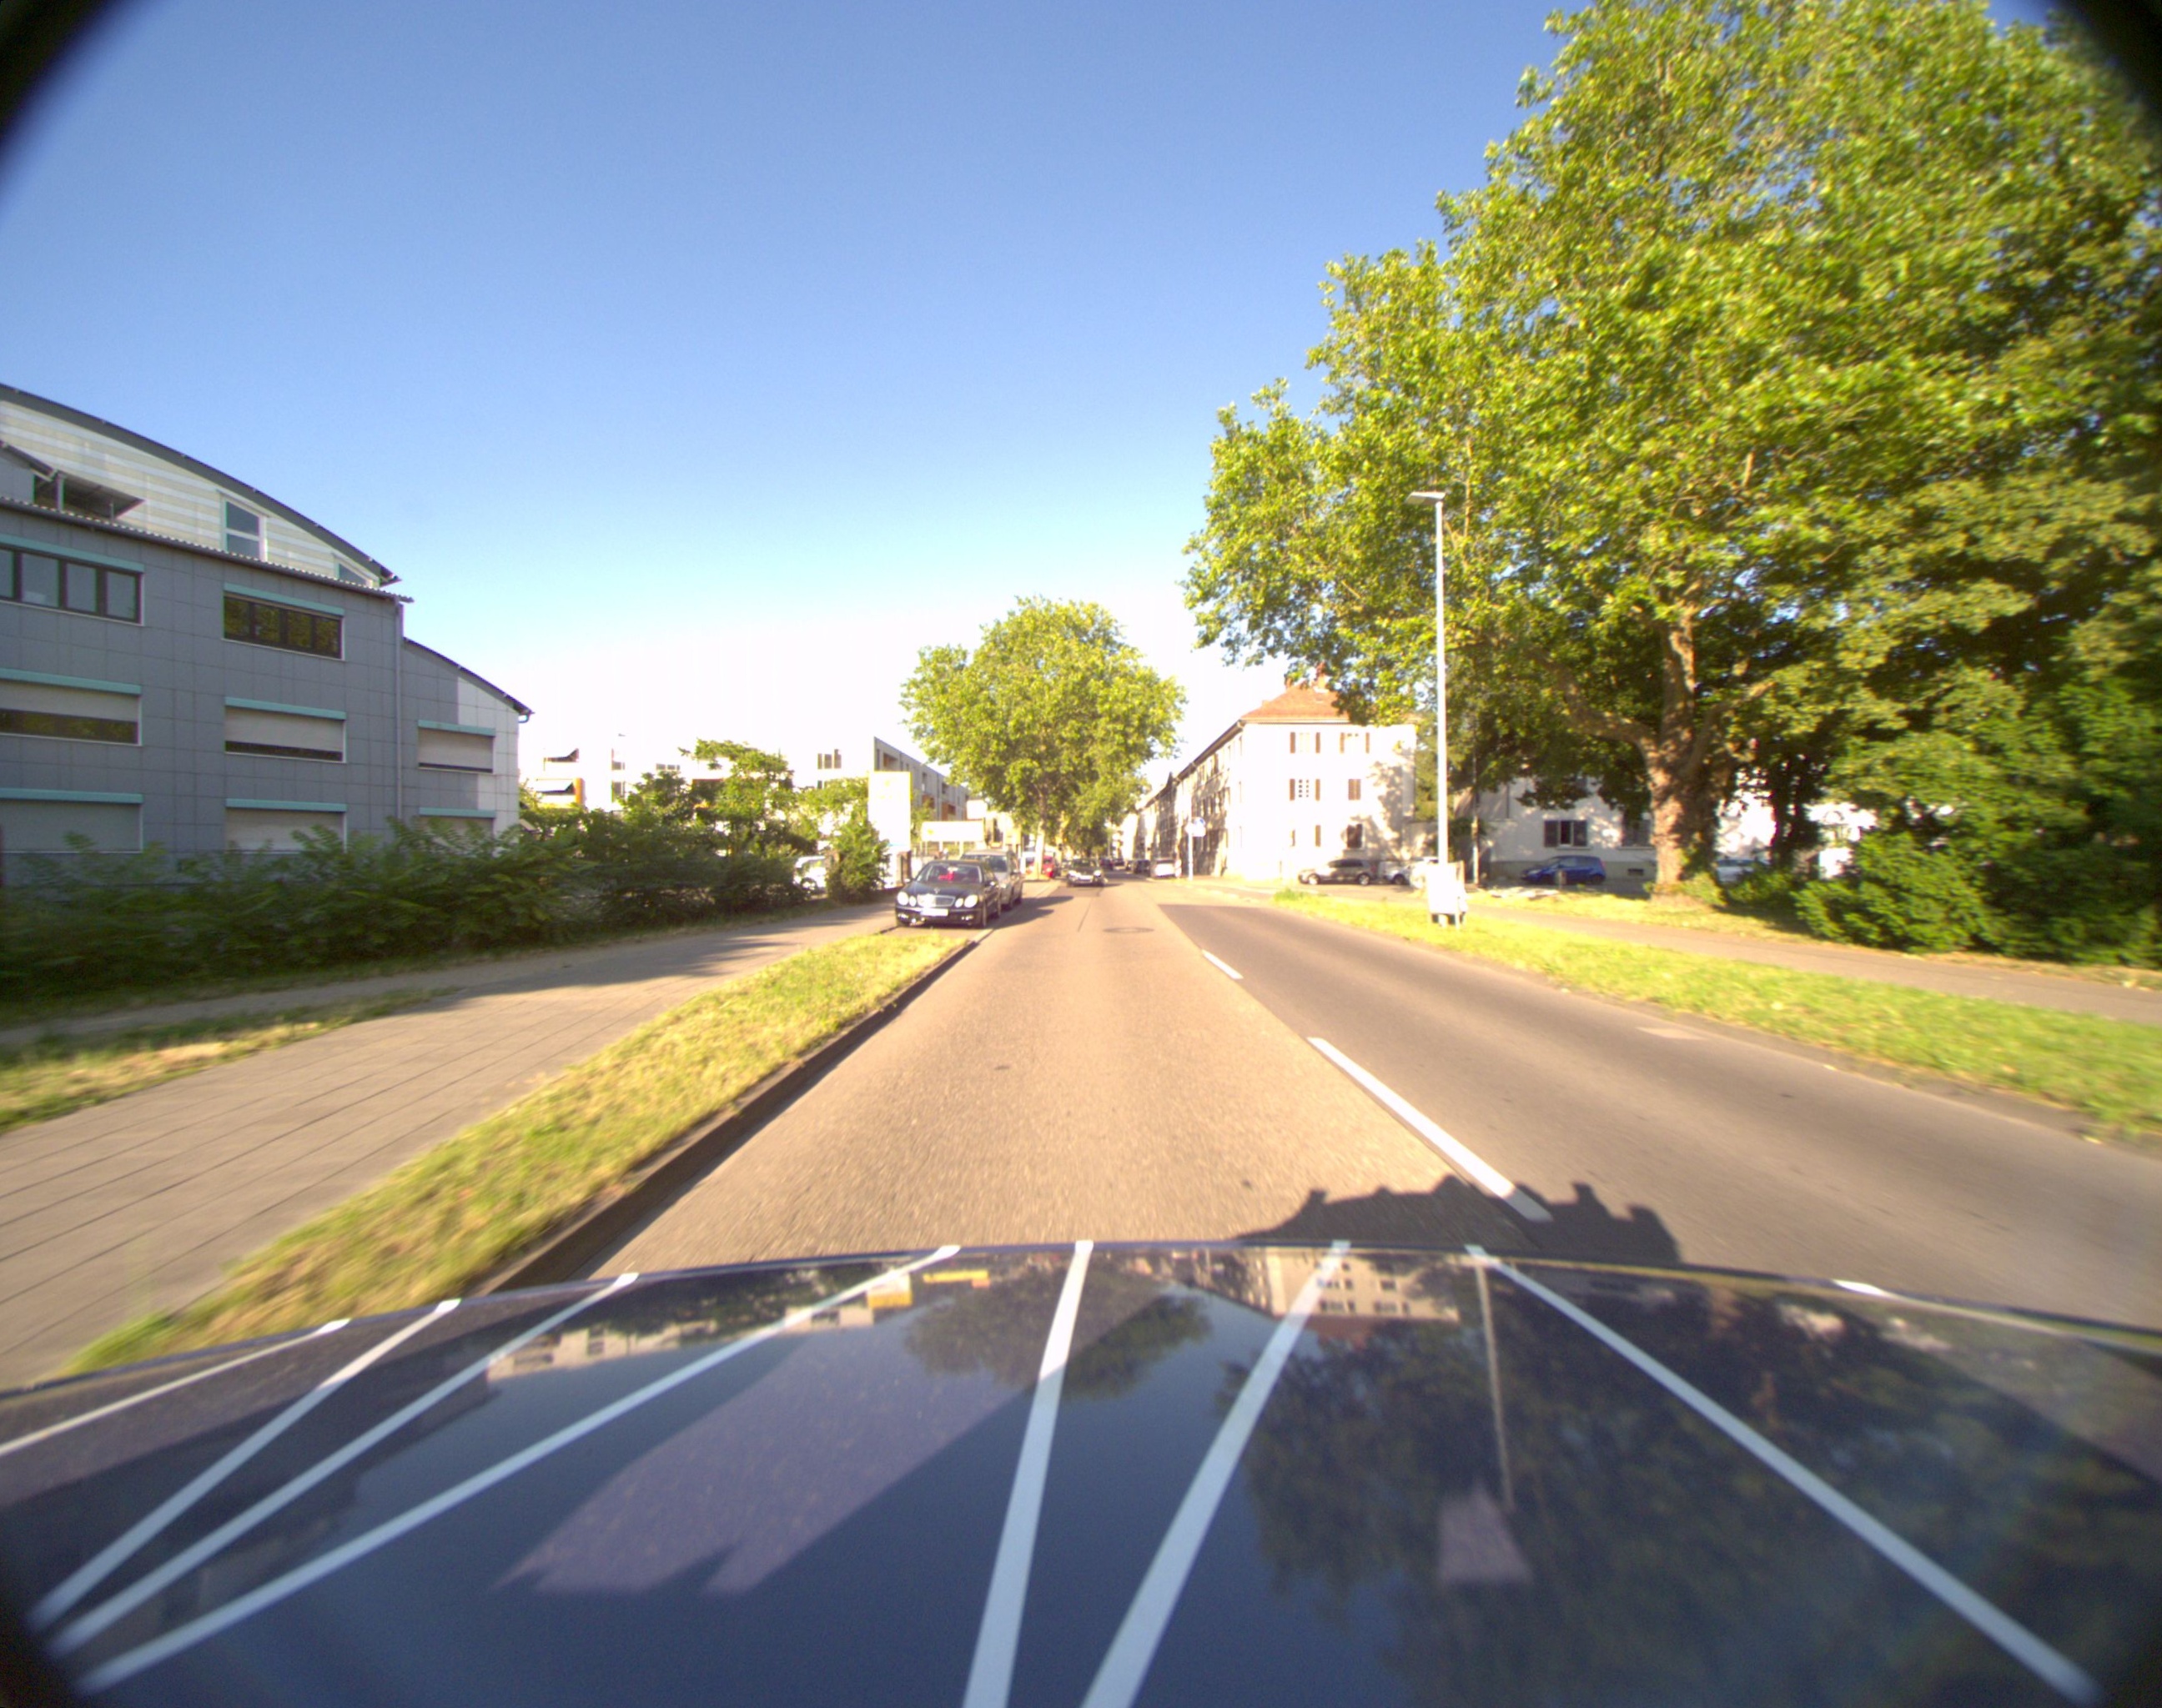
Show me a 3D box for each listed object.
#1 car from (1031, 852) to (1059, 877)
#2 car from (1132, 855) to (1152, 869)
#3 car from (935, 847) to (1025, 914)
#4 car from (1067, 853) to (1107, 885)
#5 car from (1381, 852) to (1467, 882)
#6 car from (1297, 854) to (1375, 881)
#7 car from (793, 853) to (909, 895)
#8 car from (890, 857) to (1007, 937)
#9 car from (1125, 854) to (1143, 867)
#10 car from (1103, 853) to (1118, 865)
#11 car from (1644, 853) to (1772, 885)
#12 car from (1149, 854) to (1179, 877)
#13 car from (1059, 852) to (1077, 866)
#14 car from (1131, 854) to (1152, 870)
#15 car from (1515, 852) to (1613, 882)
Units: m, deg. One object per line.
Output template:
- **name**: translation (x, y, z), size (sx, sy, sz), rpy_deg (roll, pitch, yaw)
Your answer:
- **car**: translation (-2.486, 0.707, 53.027), size (1.602, 1.680, 4.337), rpy_deg (1, 0, 2)
- **car**: translation (6.711, 0.844, 84.369), size (1.870, 1.475, 4.086), rpy_deg (-2, 0, 0)
- **car**: translation (-2.878, 0.692, 22.741), size (1.998, 1.749, 4.917), rpy_deg (1, 0, 0)
- **car**: translation (0.242, 0.694, 37.213), size (1.870, 1.471, 4.086), rpy_deg (0, 0, -1)
- **car**: translation (18.660, 0.718, 41.553), size (3.993, 1.552, 1.866), rpy_deg (-1, 1, 13)
- **car**: translation (14.213, 0.742, 42.594), size (3.993, 1.410, 1.915), rpy_deg (0, 2, 13)
- **car**: translation (-9.125, 0.788, 30.380), size (3.996, 1.550, 1.841), rpy_deg (-1, 1, 2)
- **car**: translation (-2.844, 0.857, 17.301), size (1.786, 1.506, 4.689), rpy_deg (1, 0, 0)
- **car**: translation (6.540, 0.808, 93.792), size (1.870, 1.603, 4.086), rpy_deg (-1, 0, -1)
- **car**: translation (4.039, 0.713, 103.872), size (1.901, 1.581, 4.069), rpy_deg (1, 0, 0)
- **car**: translation (31.752, 0.726, 38.620), size (4.671, 1.552, 1.866), rpy_deg (0, 1, 13)
- **car**: translation (5.742, 0.753, 53.028), size (1.765, 1.475, 4.109), rpy_deg (-2, 0, 2)
- **car**: translation (-1.524, 0.579, 89.194), size (1.869, 1.603, 4.087), rpy_deg (1, 0, 1)
- **car**: translation (6.192, 0.807, 78.059), size (1.869, 1.475, 4.087), rpy_deg (-3, 0, 3)
- **car**: translation (25.514, 0.670, 40.254), size (3.993, 1.552, 1.866), rpy_deg (0, 0, 13)
